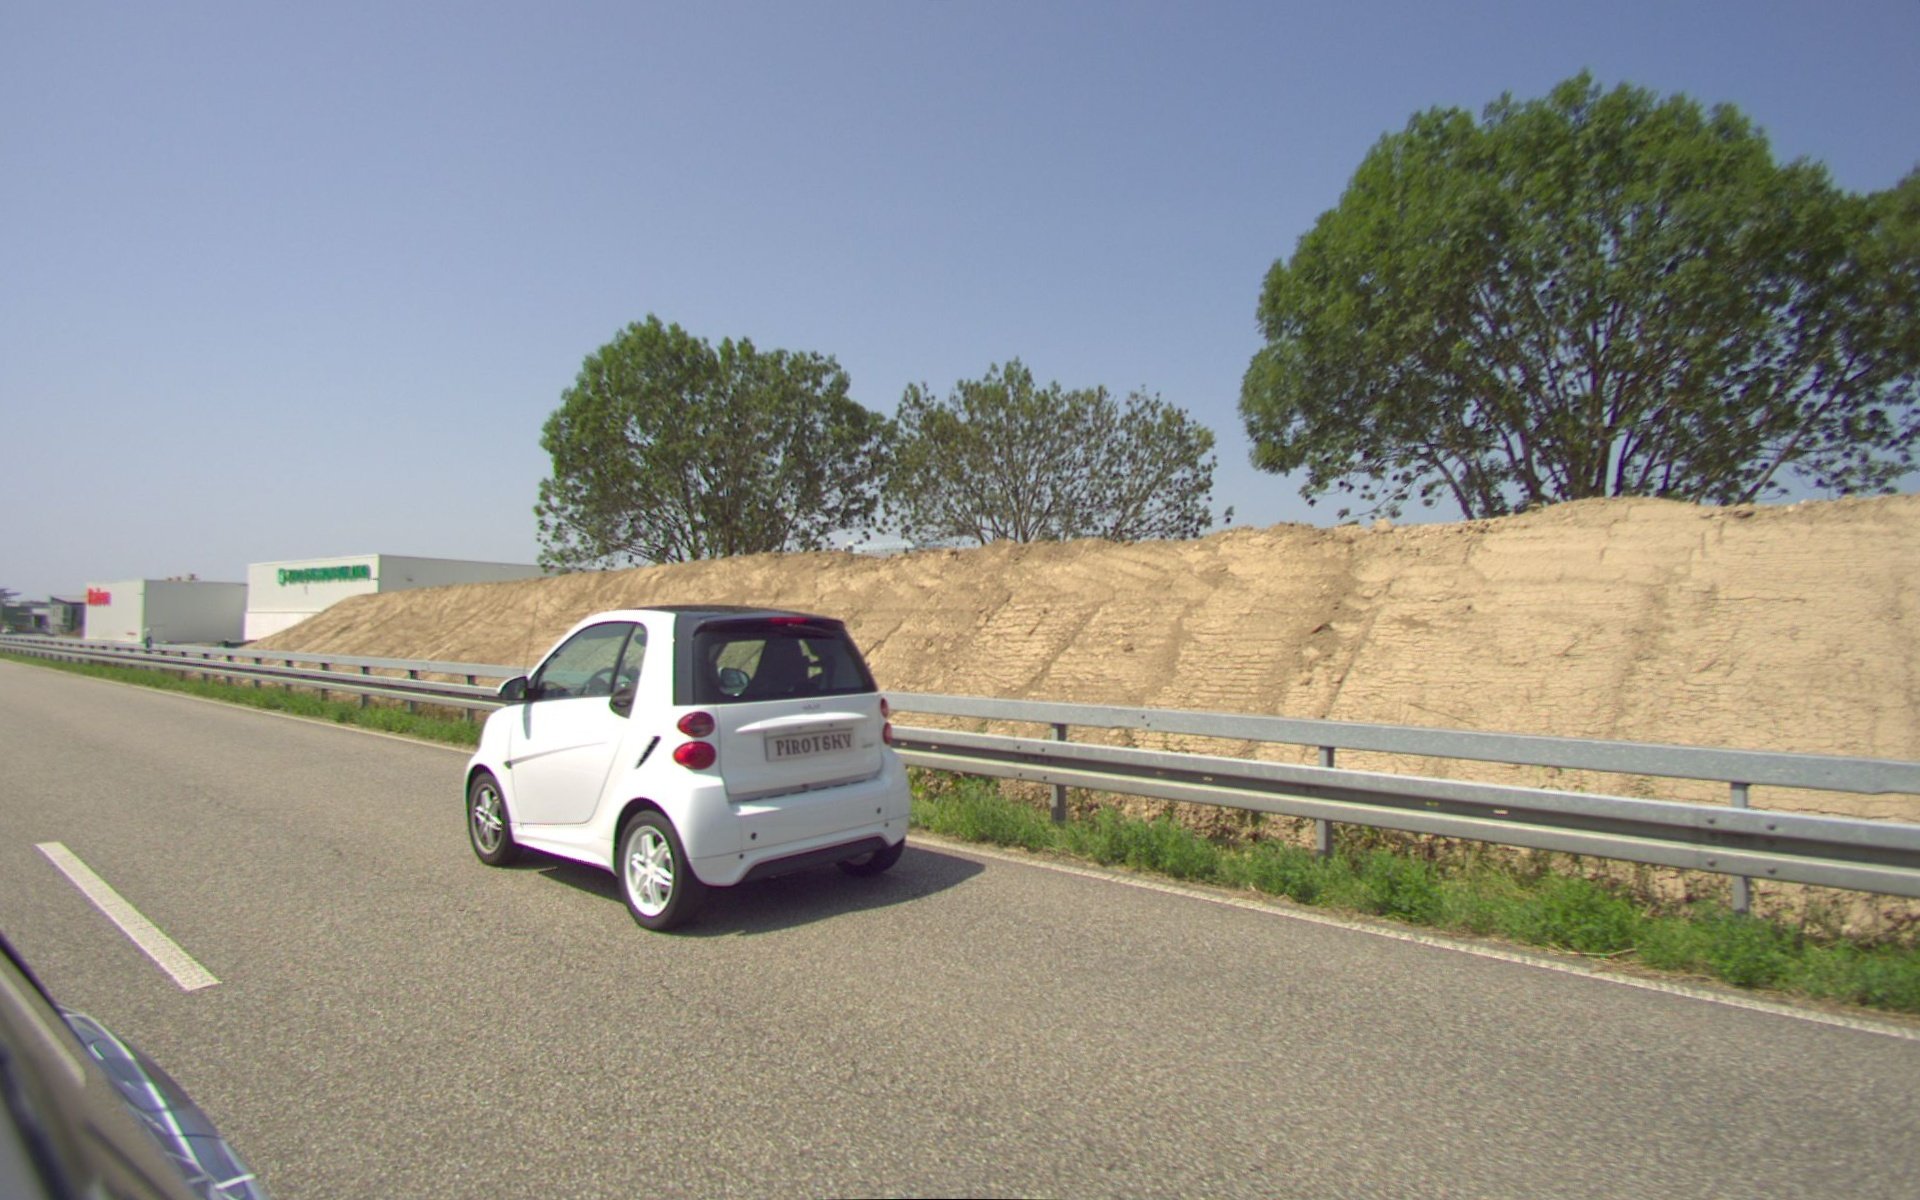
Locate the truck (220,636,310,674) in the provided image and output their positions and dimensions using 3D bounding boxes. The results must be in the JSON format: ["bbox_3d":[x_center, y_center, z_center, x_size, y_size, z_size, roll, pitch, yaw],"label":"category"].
[{"bbox_3d":[-50.767,3.987,74.030,2.270,2.557,4.996,-1,-1,38],"label":"truck"}]

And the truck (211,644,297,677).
[{"bbox_3d":[-53.631,4.565,76.981,2.231,2.351,4.957,-2,-2,40],"label":"truck"}]

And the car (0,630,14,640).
[{"bbox_3d":[-176.388,6.438,187.089,3.305,1.686,1.537,-1,-3,36],"label":"car"}]

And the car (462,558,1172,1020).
[{"bbox_3d":[-0.980,0.704,5.347,3.825,1.588,1.579,-2,-2,40],"label":"car"}]
